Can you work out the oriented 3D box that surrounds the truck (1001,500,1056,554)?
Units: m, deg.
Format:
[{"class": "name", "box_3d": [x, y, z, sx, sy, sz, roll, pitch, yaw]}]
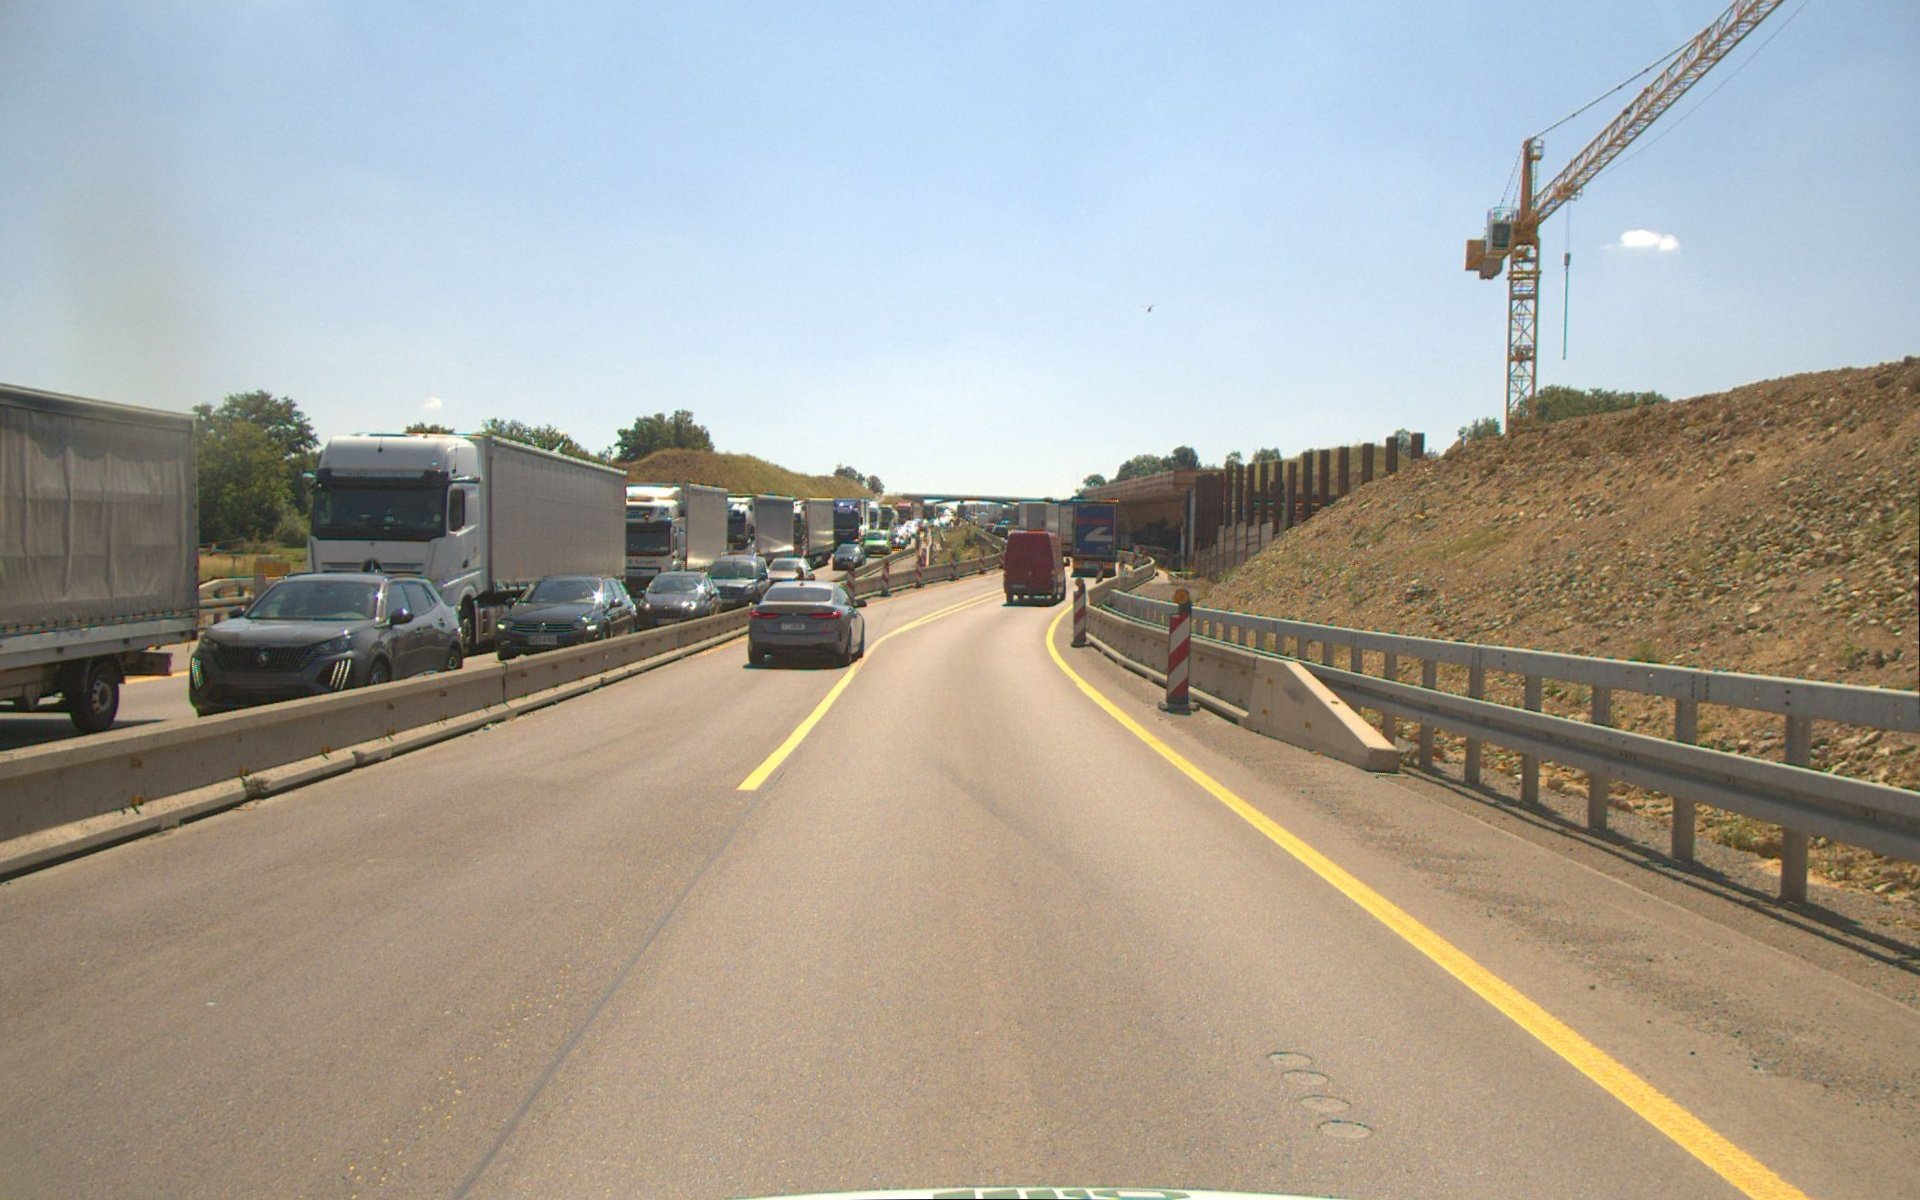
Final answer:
[{"class": "truck", "box_3d": [7.192, -7.652, 176.390, 5.055, 5.084, 13.875, -2, 0, 0]}]

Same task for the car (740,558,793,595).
[{"class": "car", "box_3d": [-7.733, -0.922, 66.349, 1.711, 1.433, 3.999, 0, 0, -1]}]

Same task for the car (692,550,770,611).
[{"class": "car", "box_3d": [-7.009, -0.586, 50.945, 1.953, 1.814, 3.999, 0, 0, -2]}]

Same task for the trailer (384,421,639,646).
[{"class": "trailer", "box_3d": [-9.895, -1.311, 38.256, 2.542, 4.331, 12.466, 0, 0, 0]}]

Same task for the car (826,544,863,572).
[{"class": "car", "box_3d": [-6.847, -2.451, 98.117, 1.912, 1.557, 4.267, 0, 0, -1]}]

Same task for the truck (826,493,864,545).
[{"class": "truck", "box_3d": [-9.354, -6.523, 134.713, 2.830, 3.906, 7.998, 0, 0, -2]}]

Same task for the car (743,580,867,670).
[{"class": "car", "box_3d": [-2.716, 0.438, 29.954, 1.814, 1.477, 4.741, 1, -1, 0]}]

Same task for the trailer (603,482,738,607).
[{"class": "trailer", "box_3d": [-10.109, -1.776, 59.008, 2.726, 4.000, 11.008, 0, 0, 0]}]

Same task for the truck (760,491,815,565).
[{"class": "truck", "box_3d": [-9.770, -4.015, 94.307, 2.629, 3.906, 7.382, 0, 0, -2]}]

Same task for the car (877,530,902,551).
[{"class": "car", "box_3d": [-5.862, -4.917, 137.386, 1.912, 1.557, 4.267, 0, 0, -1]}]

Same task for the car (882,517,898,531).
[{"class": "car", "box_3d": [-9.042, -9.819, 213.659, 1.913, 1.557, 4.266, 0, 0, -1]}]

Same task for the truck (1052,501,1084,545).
[{"class": "truck", "box_3d": [8.579, -6.076, 131.496, 2.294, 3.248, 5.016, 0, 0, 1]}]

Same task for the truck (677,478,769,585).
[{"class": "truck", "box_3d": [-10.396, -2.964, 73.164, 2.988, 4.558, 5.982, 0, 1, 2]}]

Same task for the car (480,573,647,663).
[{"class": "car", "box_3d": [-6.919, 0.273, 29.341, 1.864, 1.400, 4.546, -2, 1, -1]}]

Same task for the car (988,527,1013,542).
[{"class": "car", "box_3d": [4.532, -7.441, 187.444, 2.244, 1.557, 4.351, 0, 0, -7]}]

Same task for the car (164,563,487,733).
[{"class": "car", "box_3d": [-6.716, 0.435, 18.096, 1.790, 1.562, 4.546, -2, 1, -1]}]

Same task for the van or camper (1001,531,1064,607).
[{"class": "van or camper", "box_3d": [2.803, -1.148, 62.924, 1.986, 2.792, 4.519, 1, 0, 7]}]

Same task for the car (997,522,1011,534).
[{"class": "car", "box_3d": [6.687, -10.966, 251.777, 1.913, 1.557, 4.267, 0, 0, -1]}]

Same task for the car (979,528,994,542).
[{"class": "car", "box_3d": [3.431, -8.485, 215.255, 1.913, 1.557, 4.266, 1, 0, -1]}]

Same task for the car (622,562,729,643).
[{"class": "car", "box_3d": [-6.729, 0.054, 39.484, 1.953, 1.814, 3.999, 0, 0, -2]}]

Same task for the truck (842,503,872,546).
[{"class": "truck", "box_3d": [-10.285, -7.550, 166.163, 2.830, 3.906, 7.998, 0, 0, -2]}]

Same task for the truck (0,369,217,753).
[{"class": "truck", "box_3d": [-9.225, -0.337, 14.578, 2.385, 3.203, 7.021, 0, 1, -2]}]

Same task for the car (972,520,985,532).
[{"class": "car", "box_3d": [2.820, -11.590, 257.603, 1.913, 1.669, 4.267, 0, 0, -1]}]

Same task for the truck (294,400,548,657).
[{"class": "truck", "box_3d": [-9.869, -1.238, 31.048, 2.498, 4.305, 6.531, 0, 0, 1]}]

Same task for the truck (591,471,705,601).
[{"class": "truck", "box_3d": [-10.072, -1.981, 53.916, 2.726, 3.937, 5.459, 0, -1, -1]}]

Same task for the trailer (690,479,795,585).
[{"class": "trailer", "box_3d": [-10.173, -3.040, 78.712, 2.979, 4.632, 12.130, 0, 0, 2]}]

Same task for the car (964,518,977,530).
[{"class": "car", "box_3d": [1.516, -11.094, 240.825, 1.913, 1.557, 4.267, 0, 0, -1]}]

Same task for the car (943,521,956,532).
[{"class": "car", "box_3d": [-1.579, -11.063, 249.242, 1.913, 1.557, 4.267, 0, 0, -1]}]

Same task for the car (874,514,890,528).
[{"class": "car", "box_3d": [-9.728, -9.899, 206.971, 1.913, 1.557, 4.266, 0, 0, -1]}]

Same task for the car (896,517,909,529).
[{"class": "car", "box_3d": [-8.279, -11.110, 238.206, 1.913, 1.557, 4.266, 0, 0, -1]}]

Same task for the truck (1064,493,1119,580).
[{"class": "truck", "box_3d": [7.608, -3.559, 95.476, 2.957, 4.775, 6.937, -1, 0, 5]}]

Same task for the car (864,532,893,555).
[{"class": "car", "box_3d": [-5.931, -4.095, 120.313, 1.912, 1.557, 4.267, 0, 0, -1]}]
